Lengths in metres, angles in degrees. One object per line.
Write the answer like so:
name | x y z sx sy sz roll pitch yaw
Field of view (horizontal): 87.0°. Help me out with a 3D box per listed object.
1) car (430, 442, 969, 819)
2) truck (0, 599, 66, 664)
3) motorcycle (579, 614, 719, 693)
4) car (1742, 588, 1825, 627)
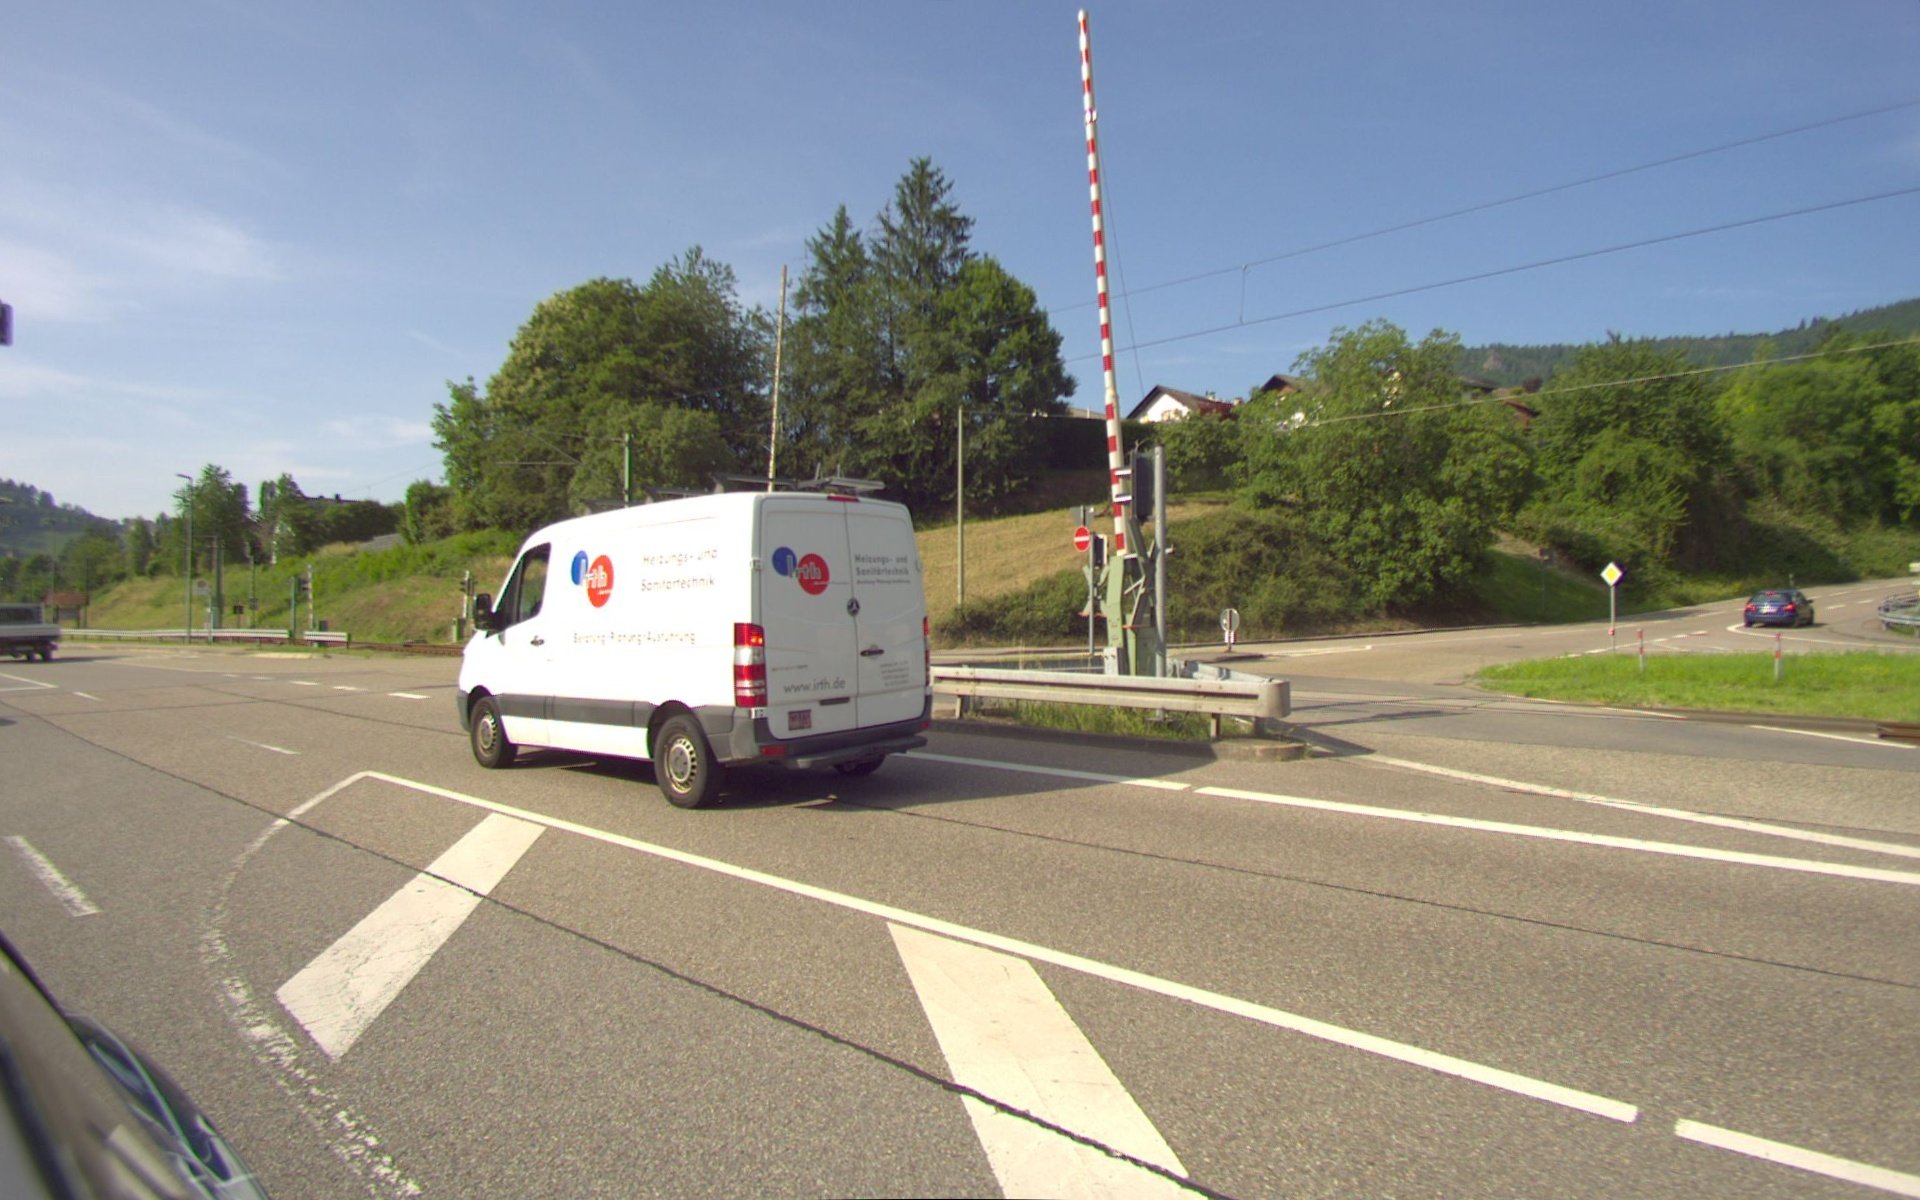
car | -2.591 0.228 9.109 5.225 2.455 2.097 -1 0 41
truck | -36.241 1.158 38.501 6.275 2.283 2.422 -1 0 40
motorcycle | -5.687 0.931 18.711 1.000 1.278 2.571 -1 1 25
car | 34.668 0.315 42.582 3.936 1.541 1.953 0 -1 -39
